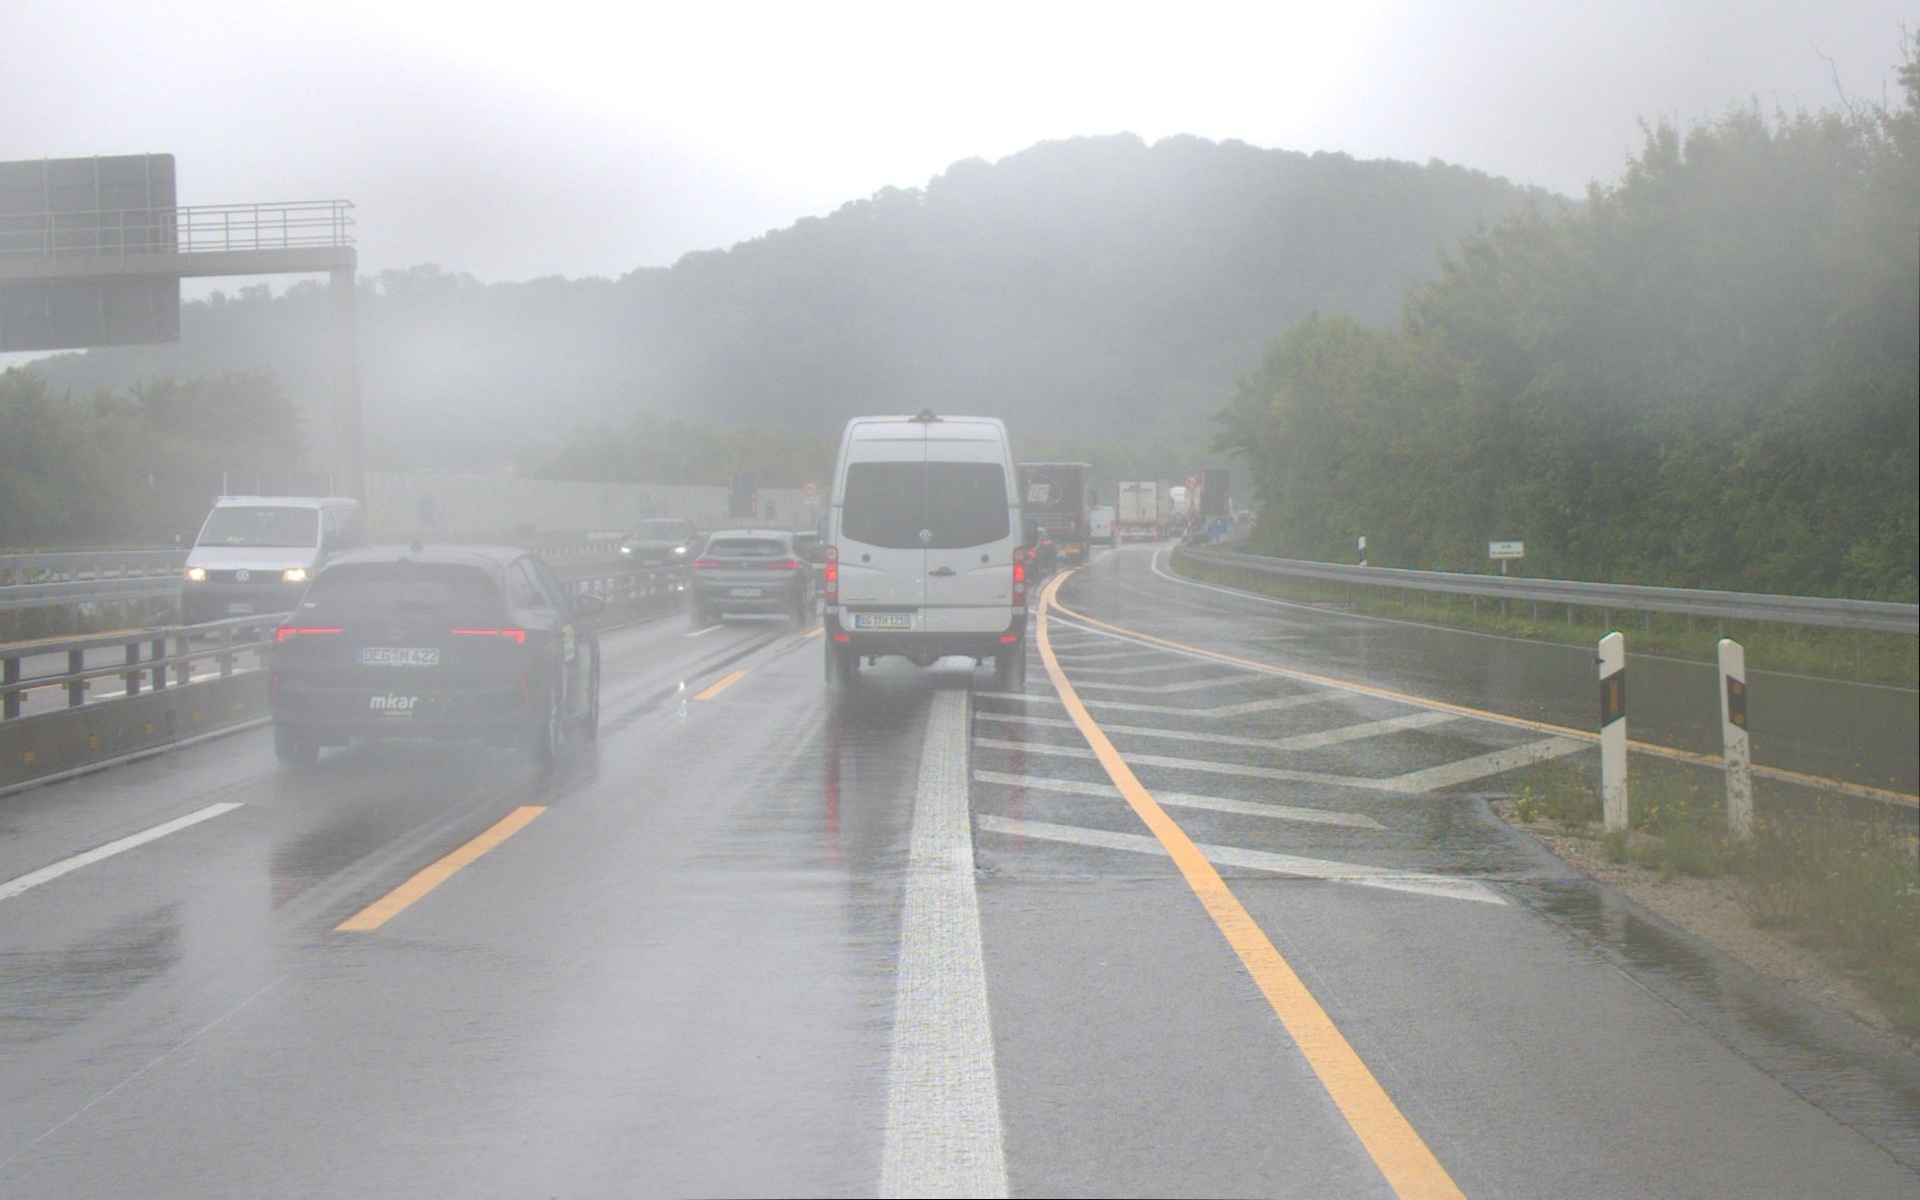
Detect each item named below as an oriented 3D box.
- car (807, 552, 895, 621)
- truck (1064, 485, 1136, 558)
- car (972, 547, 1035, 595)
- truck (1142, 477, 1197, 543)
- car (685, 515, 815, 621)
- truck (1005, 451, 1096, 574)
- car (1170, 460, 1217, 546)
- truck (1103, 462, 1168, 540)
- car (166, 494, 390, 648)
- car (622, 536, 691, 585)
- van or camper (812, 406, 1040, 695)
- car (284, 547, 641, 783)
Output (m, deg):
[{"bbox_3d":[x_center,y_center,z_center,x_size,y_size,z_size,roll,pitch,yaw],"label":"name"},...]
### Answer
[{"bbox_3d":[-2.378,-0.317,75.834,1.852,1.495,4.000,0,1,0],"label":"car"},{"bbox_3d":[7.430,-4.134,183.655,3.320,3.749,9.907,1,1,0],"label":"truck"},{"bbox_3d":[1.145,-0.772,91.087,1.384,1.252,3.123,0,1,-4],"label":"car"},{"bbox_3d":[15.959,-6.811,261.586,3.929,4.768,9.905,1,1,4],"label":"truck"},{"bbox_3d":[-3.357,-0.527,55.571,1.867,1.653,3.988,0,1,0],"label":"car"},{"bbox_3d":[3.616,-3.505,139.998,3.320,4.768,9.907,1,1,0],"label":"truck"},{"bbox_3d":[11.487,-4.743,169.609,2.058,4.177,6.746,0,1,2],"label":"car"},{"bbox_3d":[11.422,-6.370,223.143,3.929,4.768,9.905,1,1,4],"label":"truck"},{"bbox_3d":[-9.504,-0.412,48.389,1.908,2.007,5.828,1,1,1],"label":"car"},{"bbox_3d":[-8.495,-1.117,96.493,1.631,1.346,3.655,0,1,0],"label":"car"},{"bbox_3d":[-0.306,-0.500,34.611,2.139,2.712,4.648,0,1,0],"label":"van or camper"},{"bbox_3d":[-3.251,0.365,23.332,1.938,1.422,4.761,1,1,-3],"label":"car"}]
